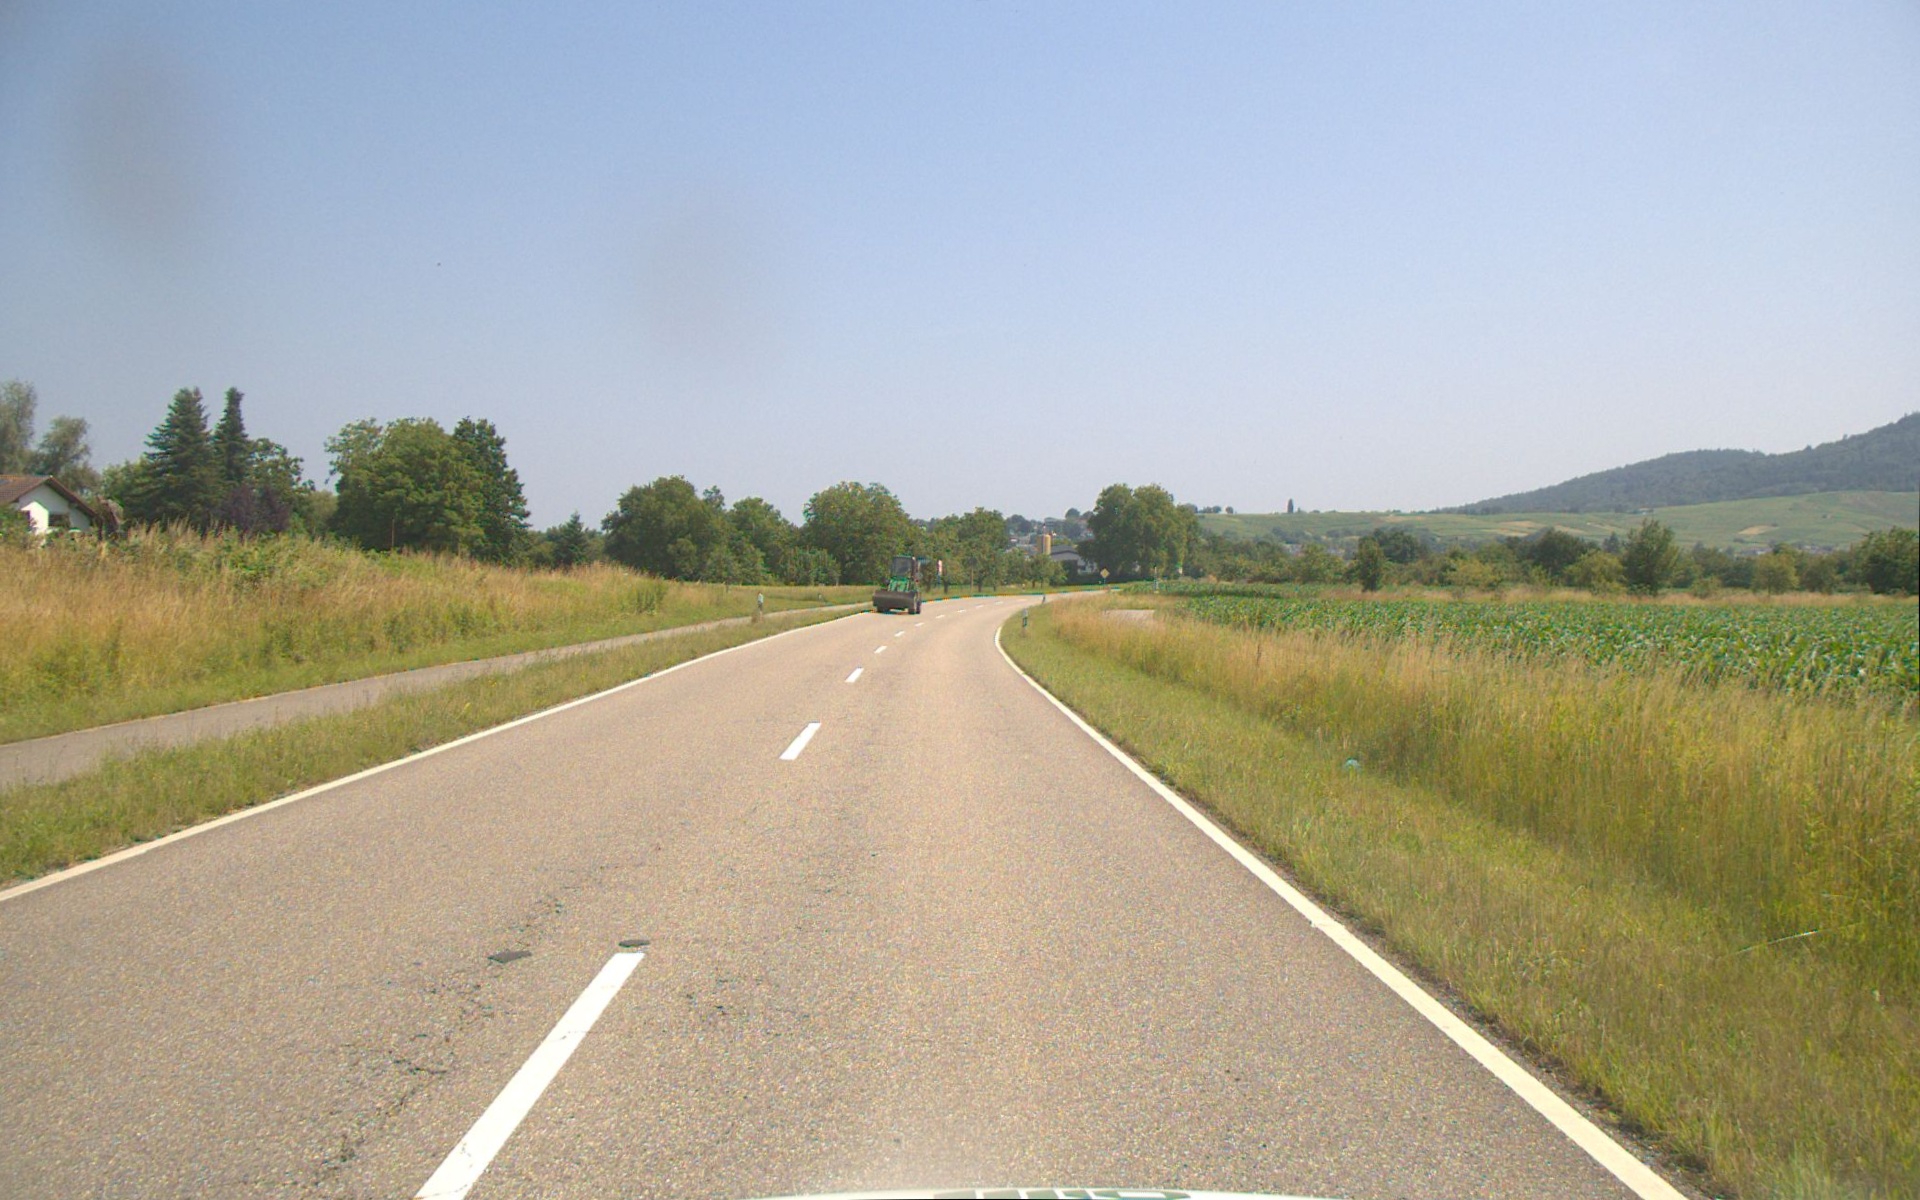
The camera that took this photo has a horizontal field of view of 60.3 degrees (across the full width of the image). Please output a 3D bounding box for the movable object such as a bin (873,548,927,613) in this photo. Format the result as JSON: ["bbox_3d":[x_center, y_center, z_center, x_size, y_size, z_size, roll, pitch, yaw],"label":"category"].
[{"bbox_3d":[-2.743,-0.928,77.030,1.959,2.802,5.232,3,1,2],"label":"movable object such as a bin"}]
